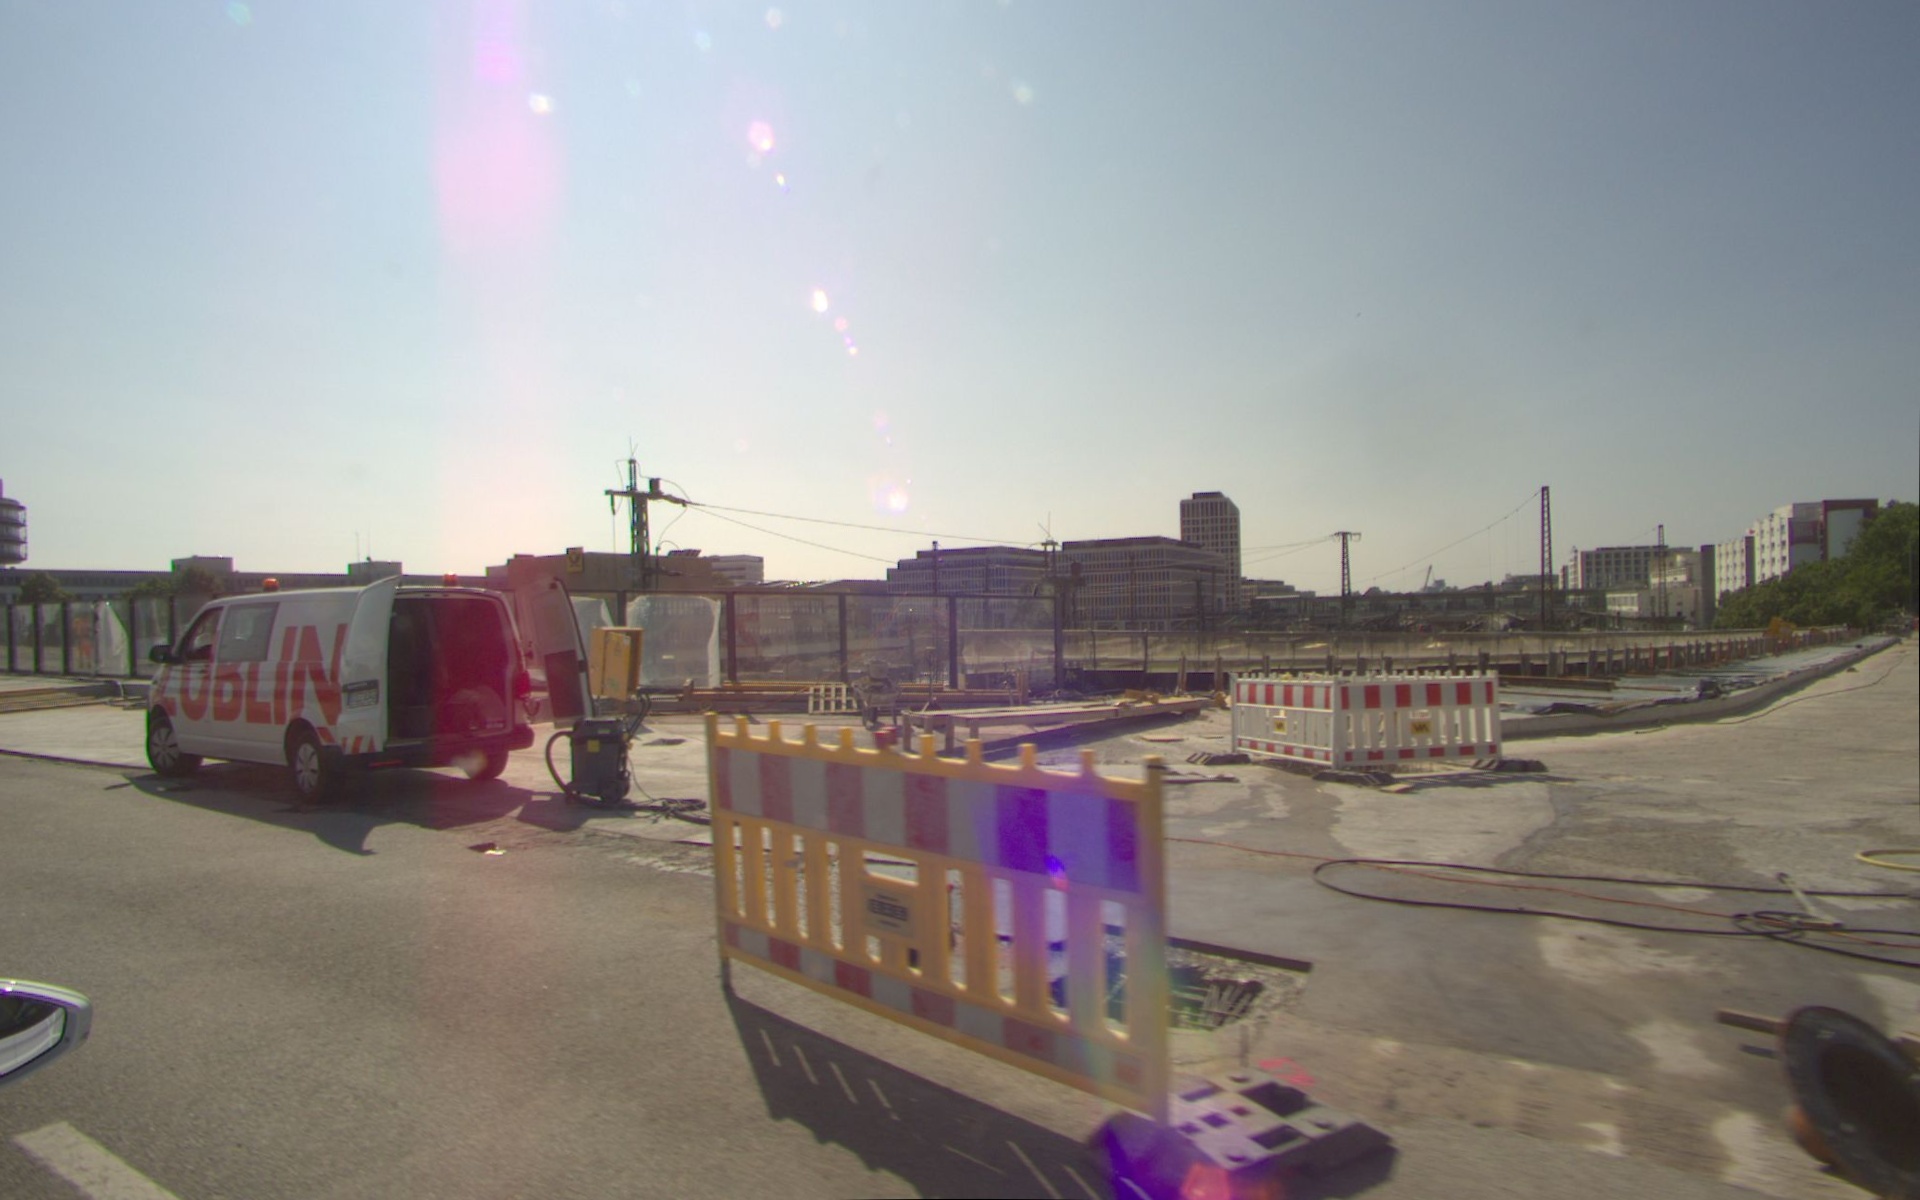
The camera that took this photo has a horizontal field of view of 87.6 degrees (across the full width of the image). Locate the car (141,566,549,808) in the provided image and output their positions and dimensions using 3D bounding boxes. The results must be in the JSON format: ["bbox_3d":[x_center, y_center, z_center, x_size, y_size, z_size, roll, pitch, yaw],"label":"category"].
[{"bbox_3d":[-6.660,0.810,10.656,4.823,2.059,1.874,-1,-1,34],"label":"car"}]

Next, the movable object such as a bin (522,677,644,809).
[{"bbox_3d":[-3.461,1.293,9.271,0.925,1.088,0.891,0,0,-12],"label":"movable object such as a bin"}]
